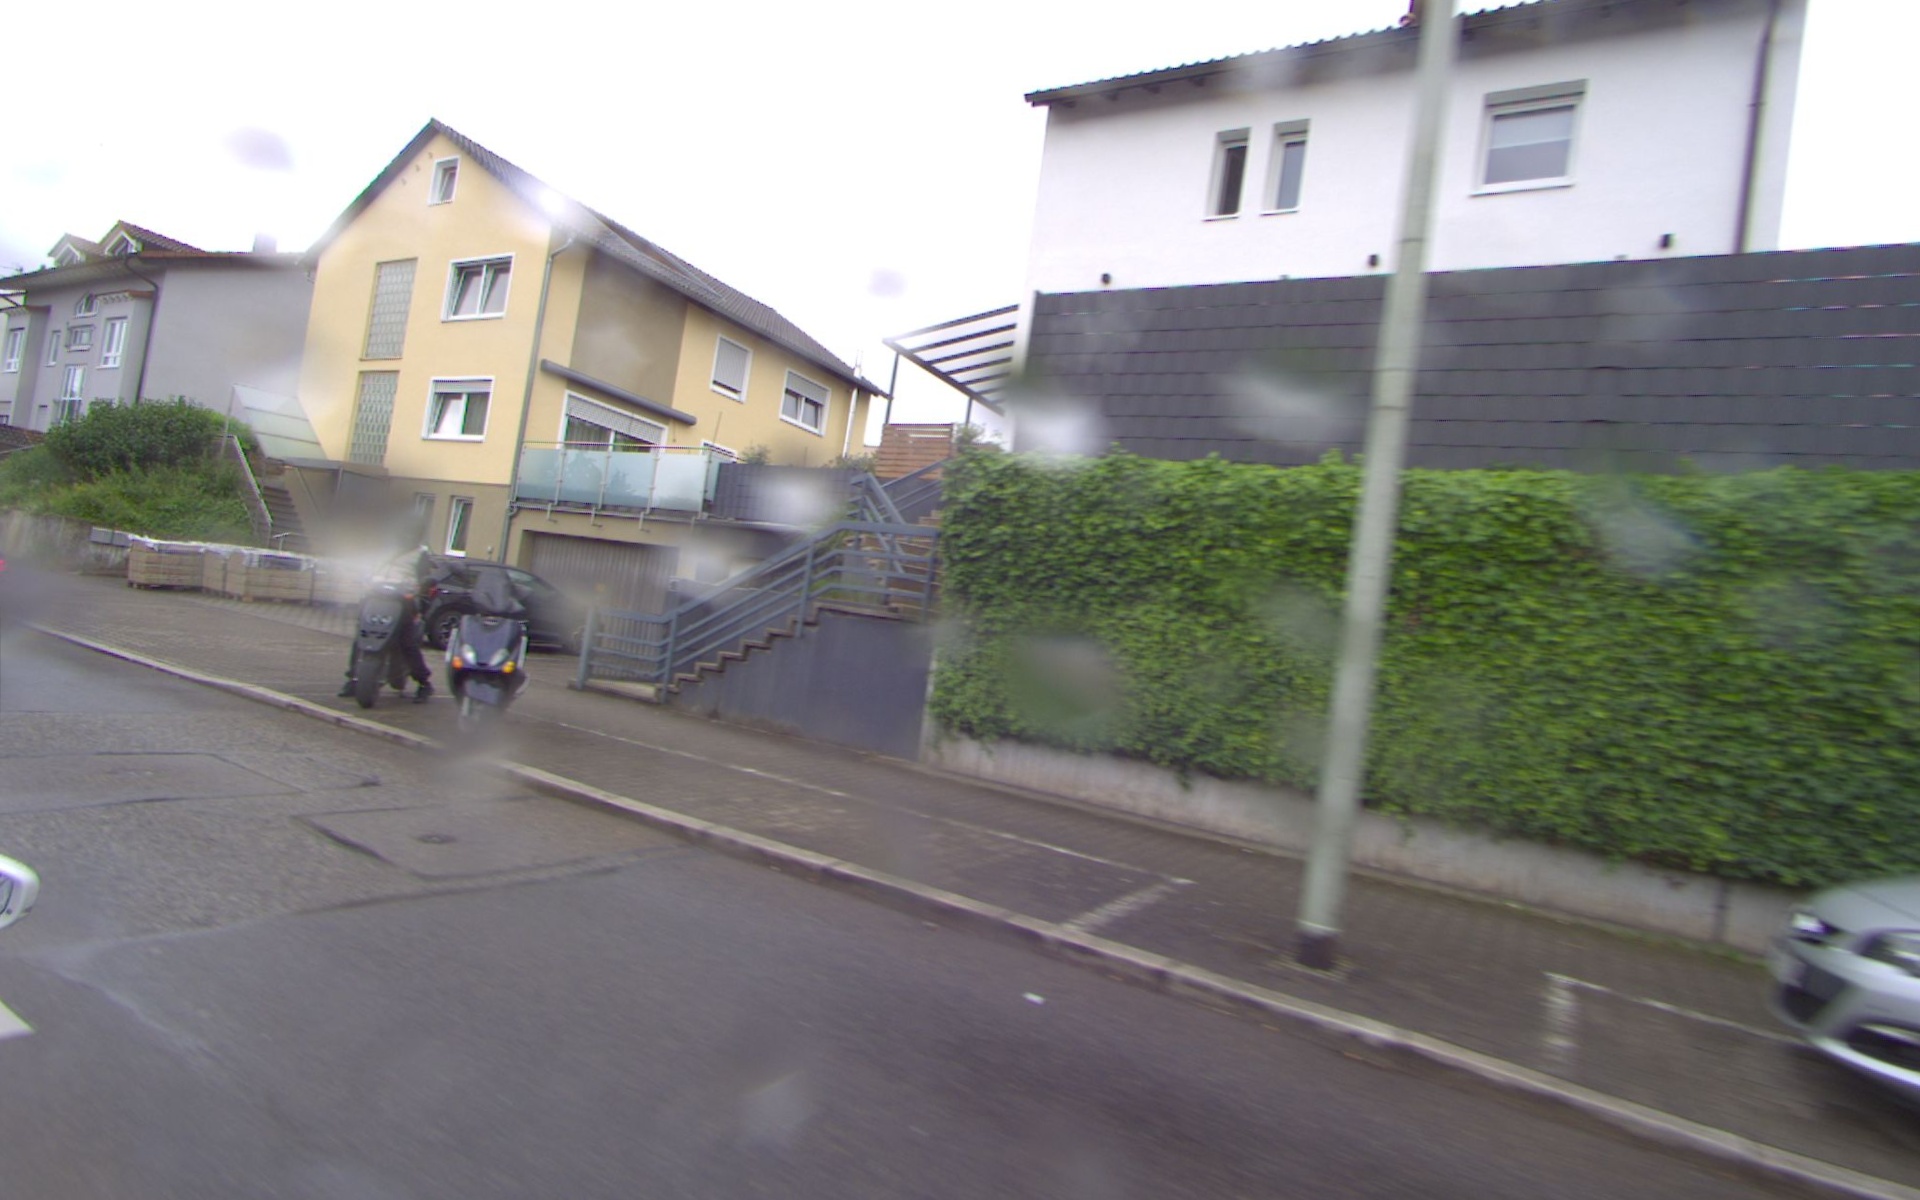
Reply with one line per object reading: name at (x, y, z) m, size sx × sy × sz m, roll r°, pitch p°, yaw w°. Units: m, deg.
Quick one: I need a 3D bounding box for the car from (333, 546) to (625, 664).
car at (-7.901, 0.158, 16.921) m, size 1.837 × 1.450 × 3.996 m, roll 6°, pitch -2°, yaw 30°

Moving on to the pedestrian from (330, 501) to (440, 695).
pedestrian at (-5.366, -0.011, 9.439) m, size 0.614 × 1.668 × 0.828 m, roll 8°, pitch -2°, yaw -24°

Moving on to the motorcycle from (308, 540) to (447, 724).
motorcycle at (-5.400, 0.275, 9.458) m, size 0.750 × 1.466 × 2.078 m, roll 8°, pitch -3°, yaw -24°

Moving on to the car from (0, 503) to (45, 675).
car at (-10.547, -0.354, 9.367) m, size 3.936 × 1.500 × 1.997 m, roll 6°, pitch -3°, yaw 34°

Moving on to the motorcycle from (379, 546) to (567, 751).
motorcycle at (-4.118, 0.383, 8.719) m, size 0.809 × 1.467 × 2.085 m, roll 8°, pitch -1°, yaw -12°

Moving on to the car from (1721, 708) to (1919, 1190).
car at (5.256, 1.424, 3.015) m, size 4.459 × 1.527 × 1.704 m, roll 6°, pitch -3°, yaw 32°
